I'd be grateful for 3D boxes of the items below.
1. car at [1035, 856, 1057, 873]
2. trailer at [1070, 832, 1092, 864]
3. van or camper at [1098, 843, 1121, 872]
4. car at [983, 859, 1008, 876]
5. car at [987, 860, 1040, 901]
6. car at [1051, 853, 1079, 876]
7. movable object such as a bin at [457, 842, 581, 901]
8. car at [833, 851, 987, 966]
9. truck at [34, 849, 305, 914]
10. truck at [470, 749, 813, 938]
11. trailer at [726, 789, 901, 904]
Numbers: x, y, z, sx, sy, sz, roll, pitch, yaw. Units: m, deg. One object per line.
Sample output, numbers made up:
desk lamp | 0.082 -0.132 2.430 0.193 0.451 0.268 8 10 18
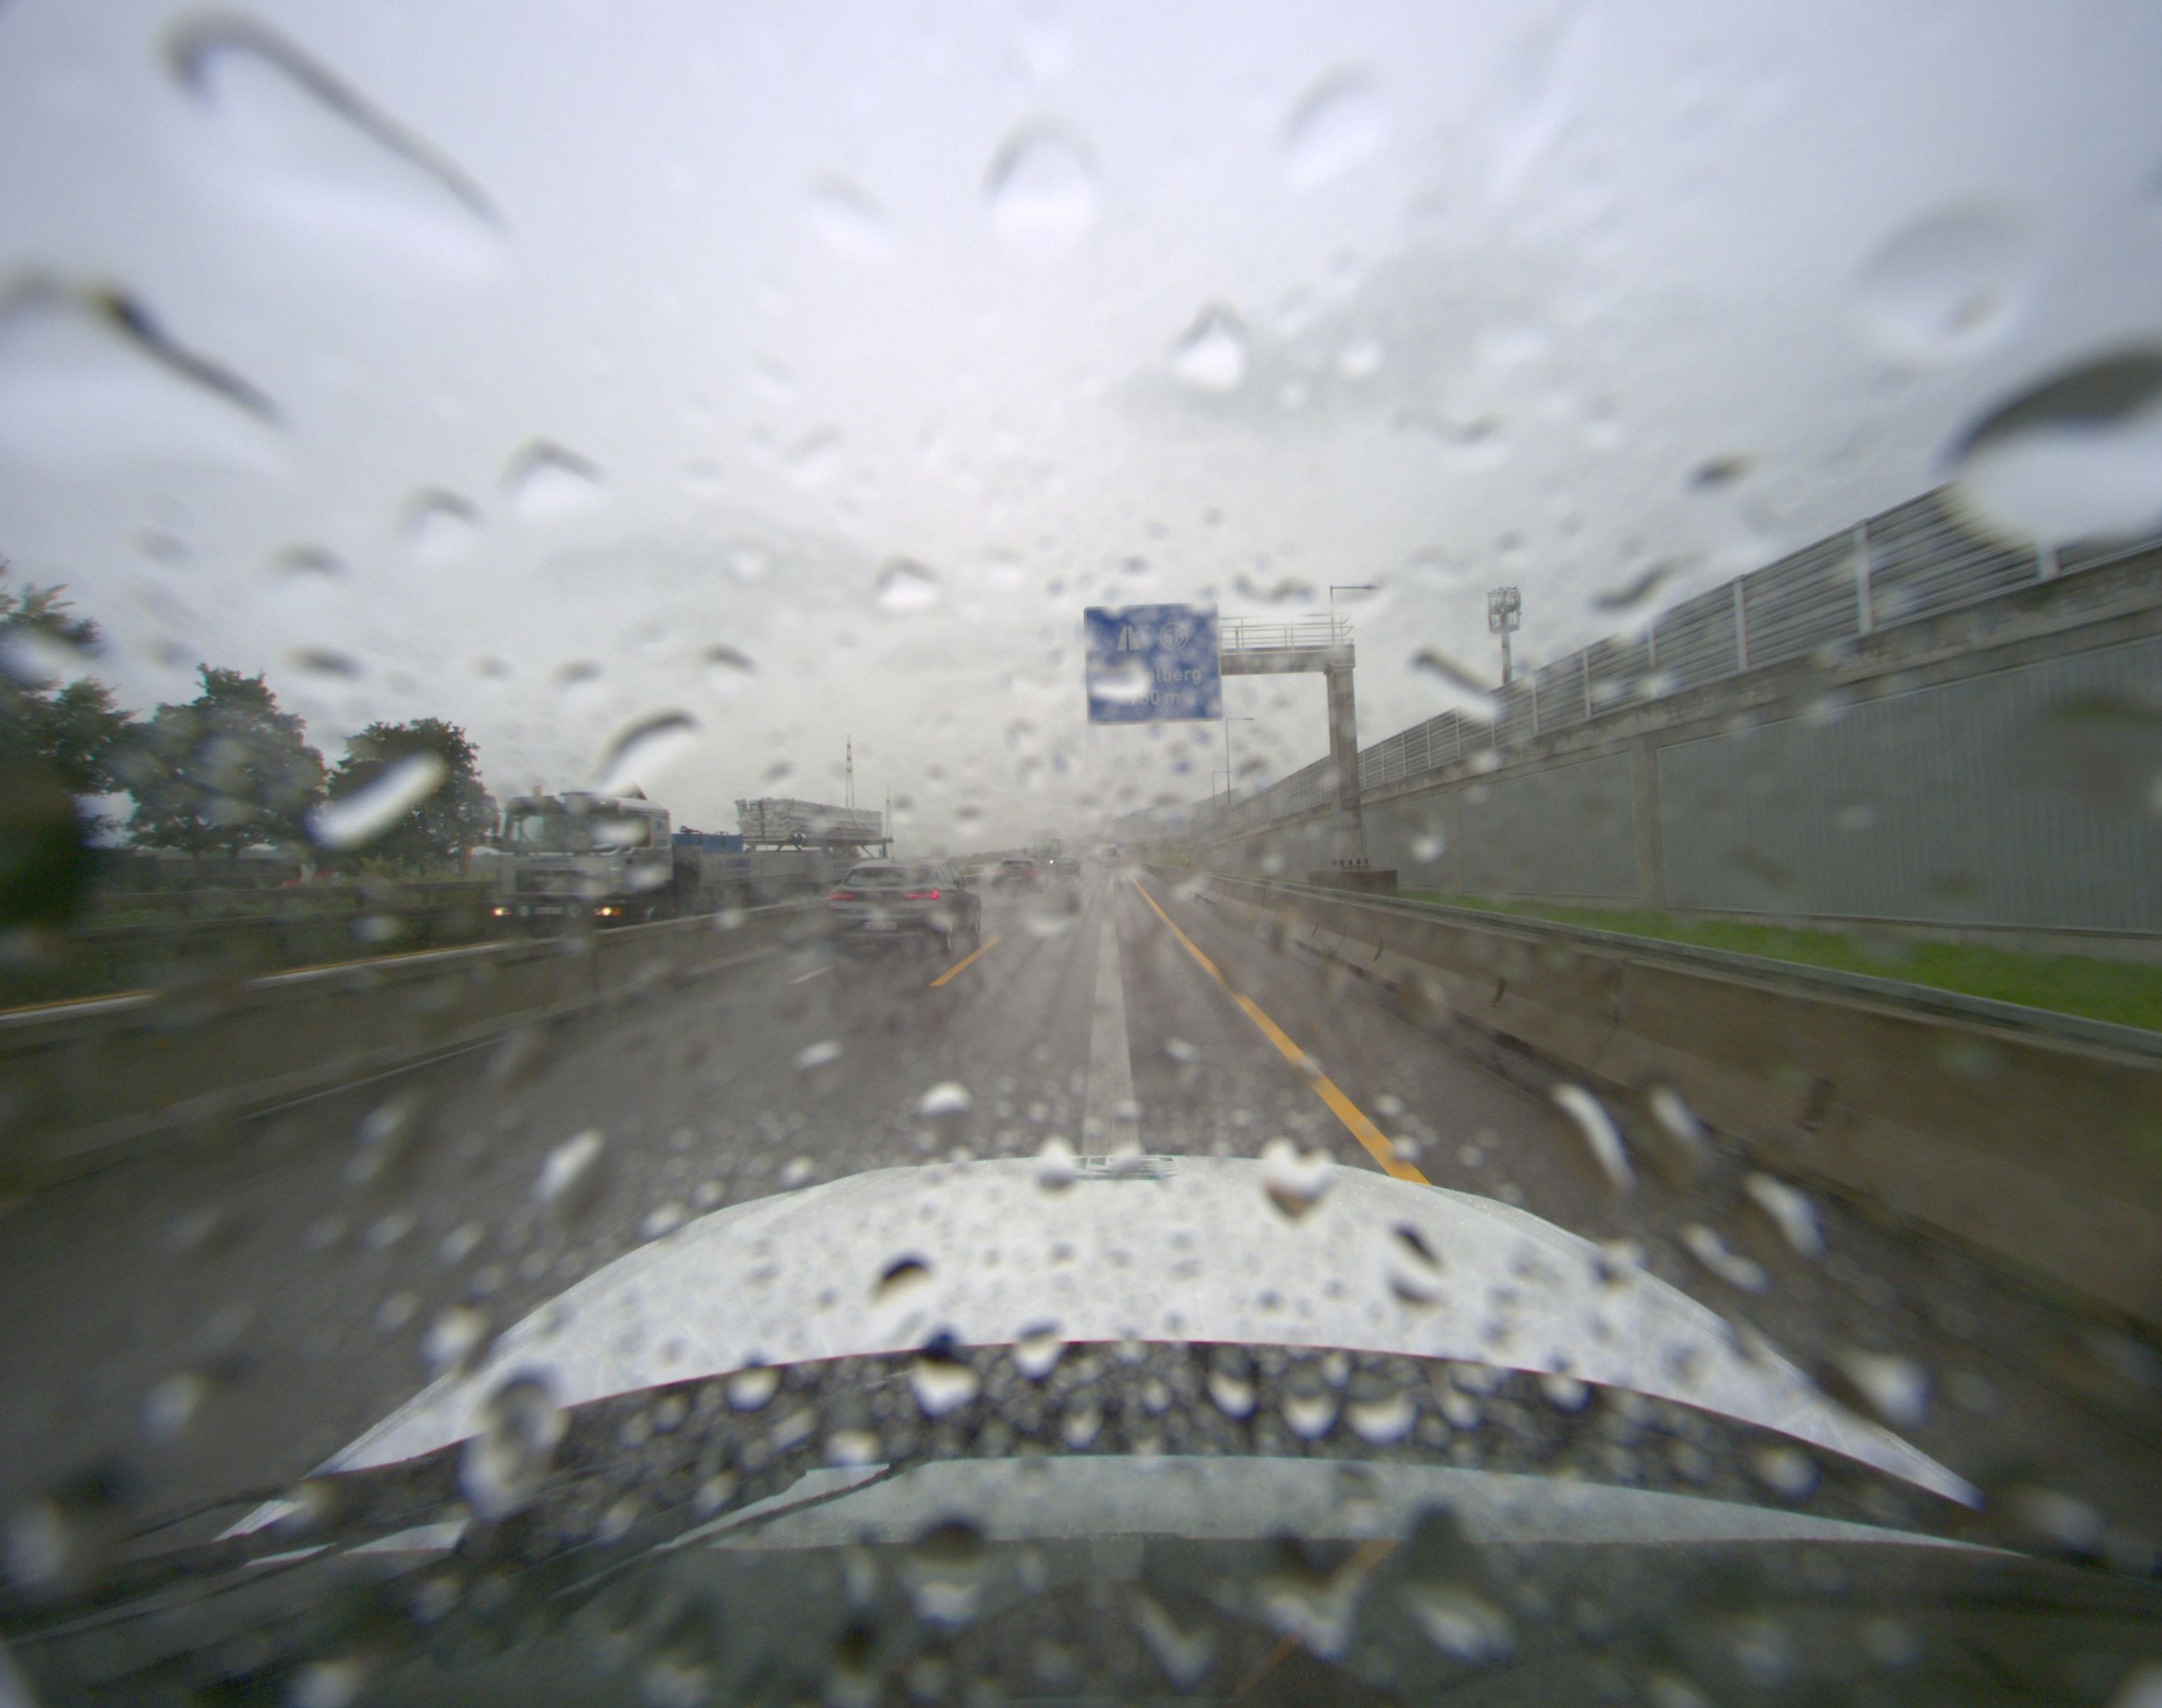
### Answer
car | -3.638 1.101 84.380 1.891 1.687 4.742 -2 0 1
trailer | 0.067 -0.878 121.409 2.571 4.457 13.562 -1 0 3
van or camper | 2.749 0.399 80.358 1.991 2.777 4.047 -1 -2 -1
car | -7.317 1.134 70.144 1.563 1.436 3.894 -2 0 1
car | -2.617 1.026 32.430 1.839 1.491 4.258 -1 -1 -1
car | -1.138 0.759 58.755 1.839 1.491 4.259 -4 0 -1
movable object such as a bin | -39.866 1.264 58.221 2.719 3.920 8.466 -1 -2 2
car | -2.690 0.829 13.917 1.696 1.598 4.842 -1 -1 -1
truck | -42.700 1.163 38.799 2.504 2.704 8.909 -1 0 3
truck | -9.466 -0.195 19.380 2.629 3.348 9.557 -1 0 2
trailer | -9.036 -0.224 29.066 2.651 3.362 9.719 -1 0 2
